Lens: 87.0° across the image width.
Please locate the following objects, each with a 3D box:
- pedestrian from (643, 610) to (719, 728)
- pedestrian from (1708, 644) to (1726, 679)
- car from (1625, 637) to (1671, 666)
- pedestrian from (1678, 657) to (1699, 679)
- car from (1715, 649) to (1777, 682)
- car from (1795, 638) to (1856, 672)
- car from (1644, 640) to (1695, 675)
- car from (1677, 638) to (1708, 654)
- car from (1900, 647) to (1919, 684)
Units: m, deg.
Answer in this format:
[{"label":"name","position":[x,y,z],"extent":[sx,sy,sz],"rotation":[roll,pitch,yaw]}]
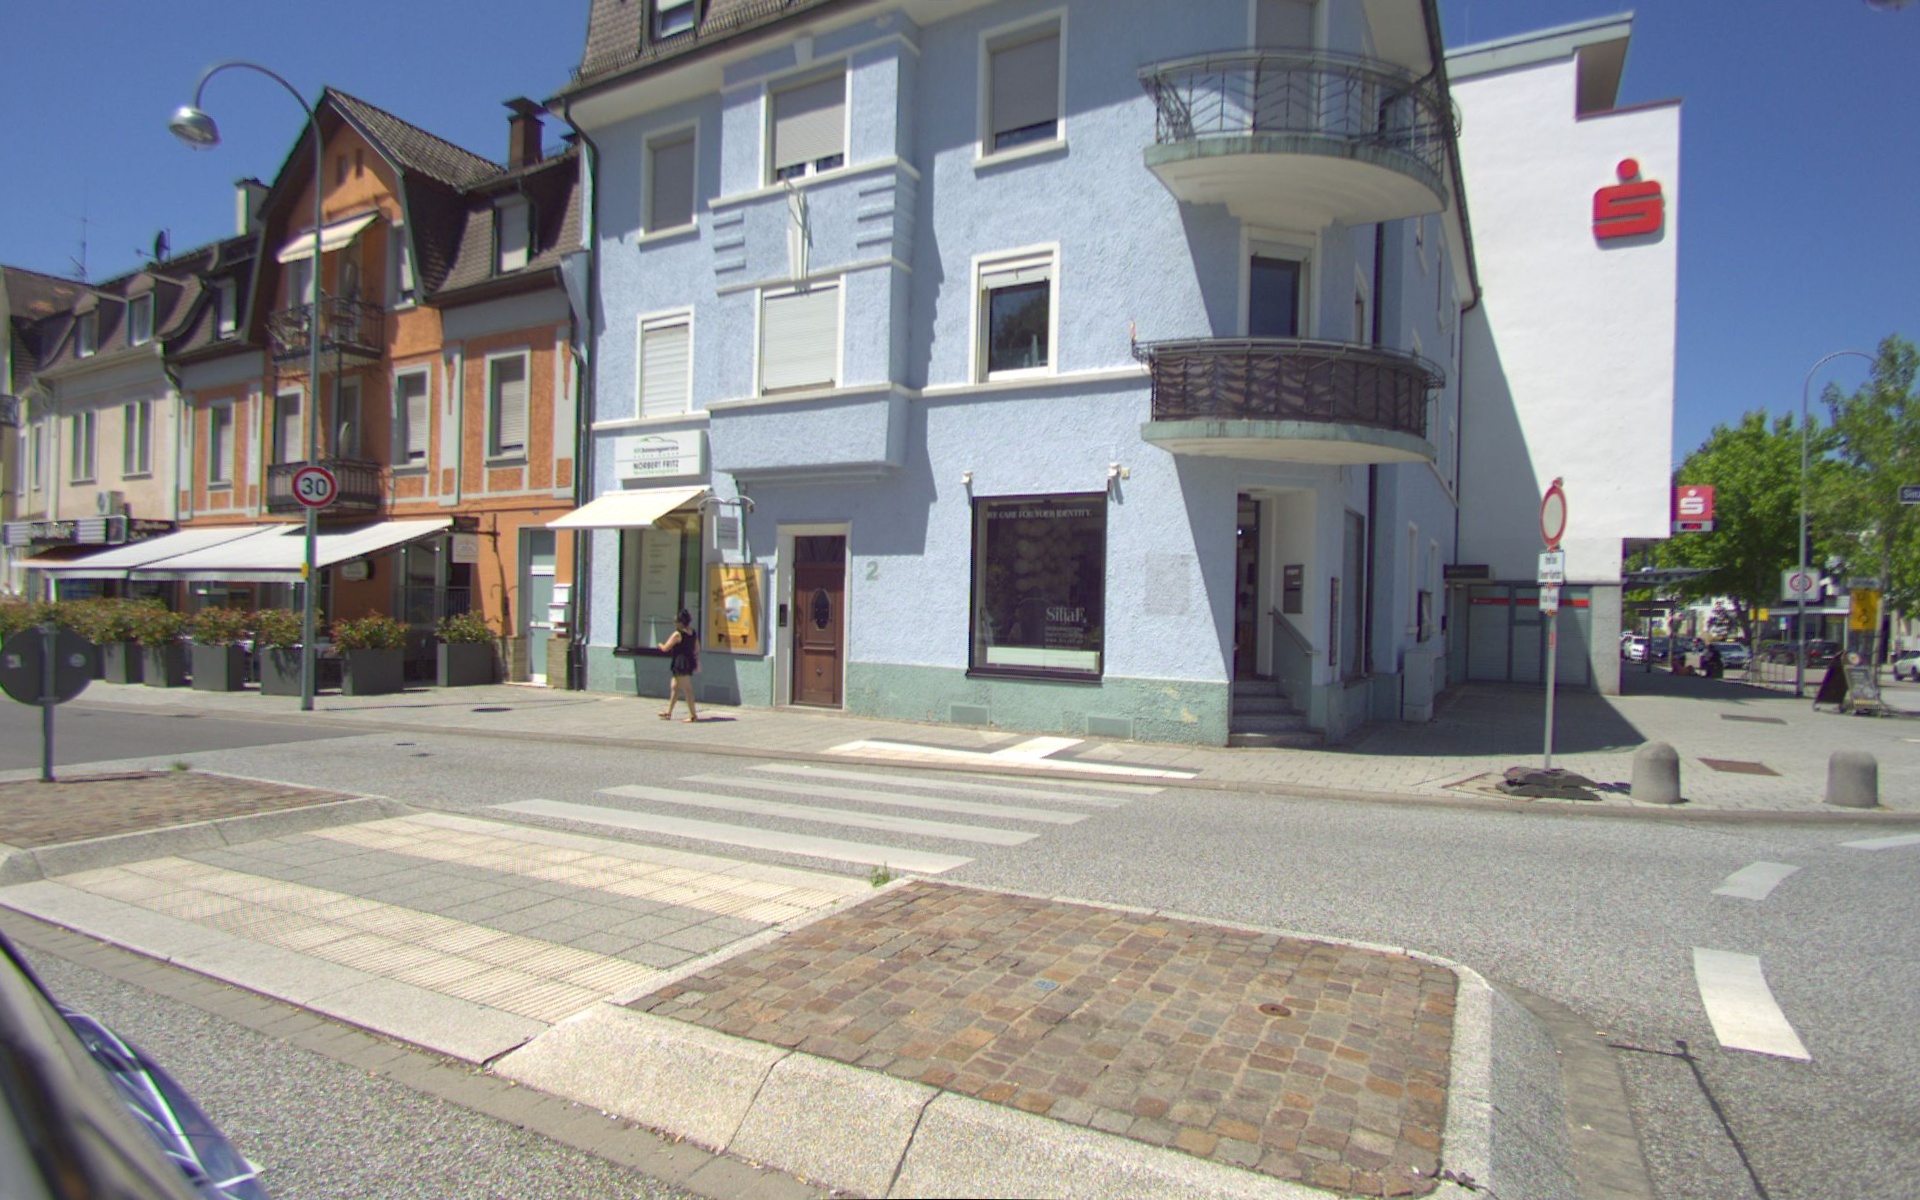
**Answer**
[{"label":"pedestrian","position":[-3.793,0.909,13.770],"extent":[0.800,1.536,0.622],"rotation":[0,1,29]},{"label":"pedestrian","position":[30.349,2.453,40.556],"extent":[0.568,1.382,0.658],"rotation":[-1,-3,38]},{"label":"car","position":[43.631,3.232,64.256],"extent":[1.821,1.631,4.352],"rotation":[2,0,27]},{"label":"pedestrian","position":[30.184,2.827,41.936],"extent":[0.666,0.865,0.723],"rotation":[-1,-6,38]},{"label":"car","position":[44.216,3.631,57.037],"extent":[1.991,1.605,4.950],"rotation":[1,-1,29]},{"label":"car","position":[52.295,3.268,61.229],"extent":[1.992,1.812,4.522],"rotation":[-1,0,30]},{"label":"car","position":[41.420,3.315,59.193],"extent":[1.726,1.753,4.352],"rotation":[4,1,27]},{"label":"car","position":[73.761,4.620,101.935],"extent":[1.974,1.461,4.306],"rotation":[-1,-1,29]},{"label":"car","position":[43.754,2.949,45.164],"extent":[1.721,1.595,4.182],"rotation":[-1,-2,30]}]
